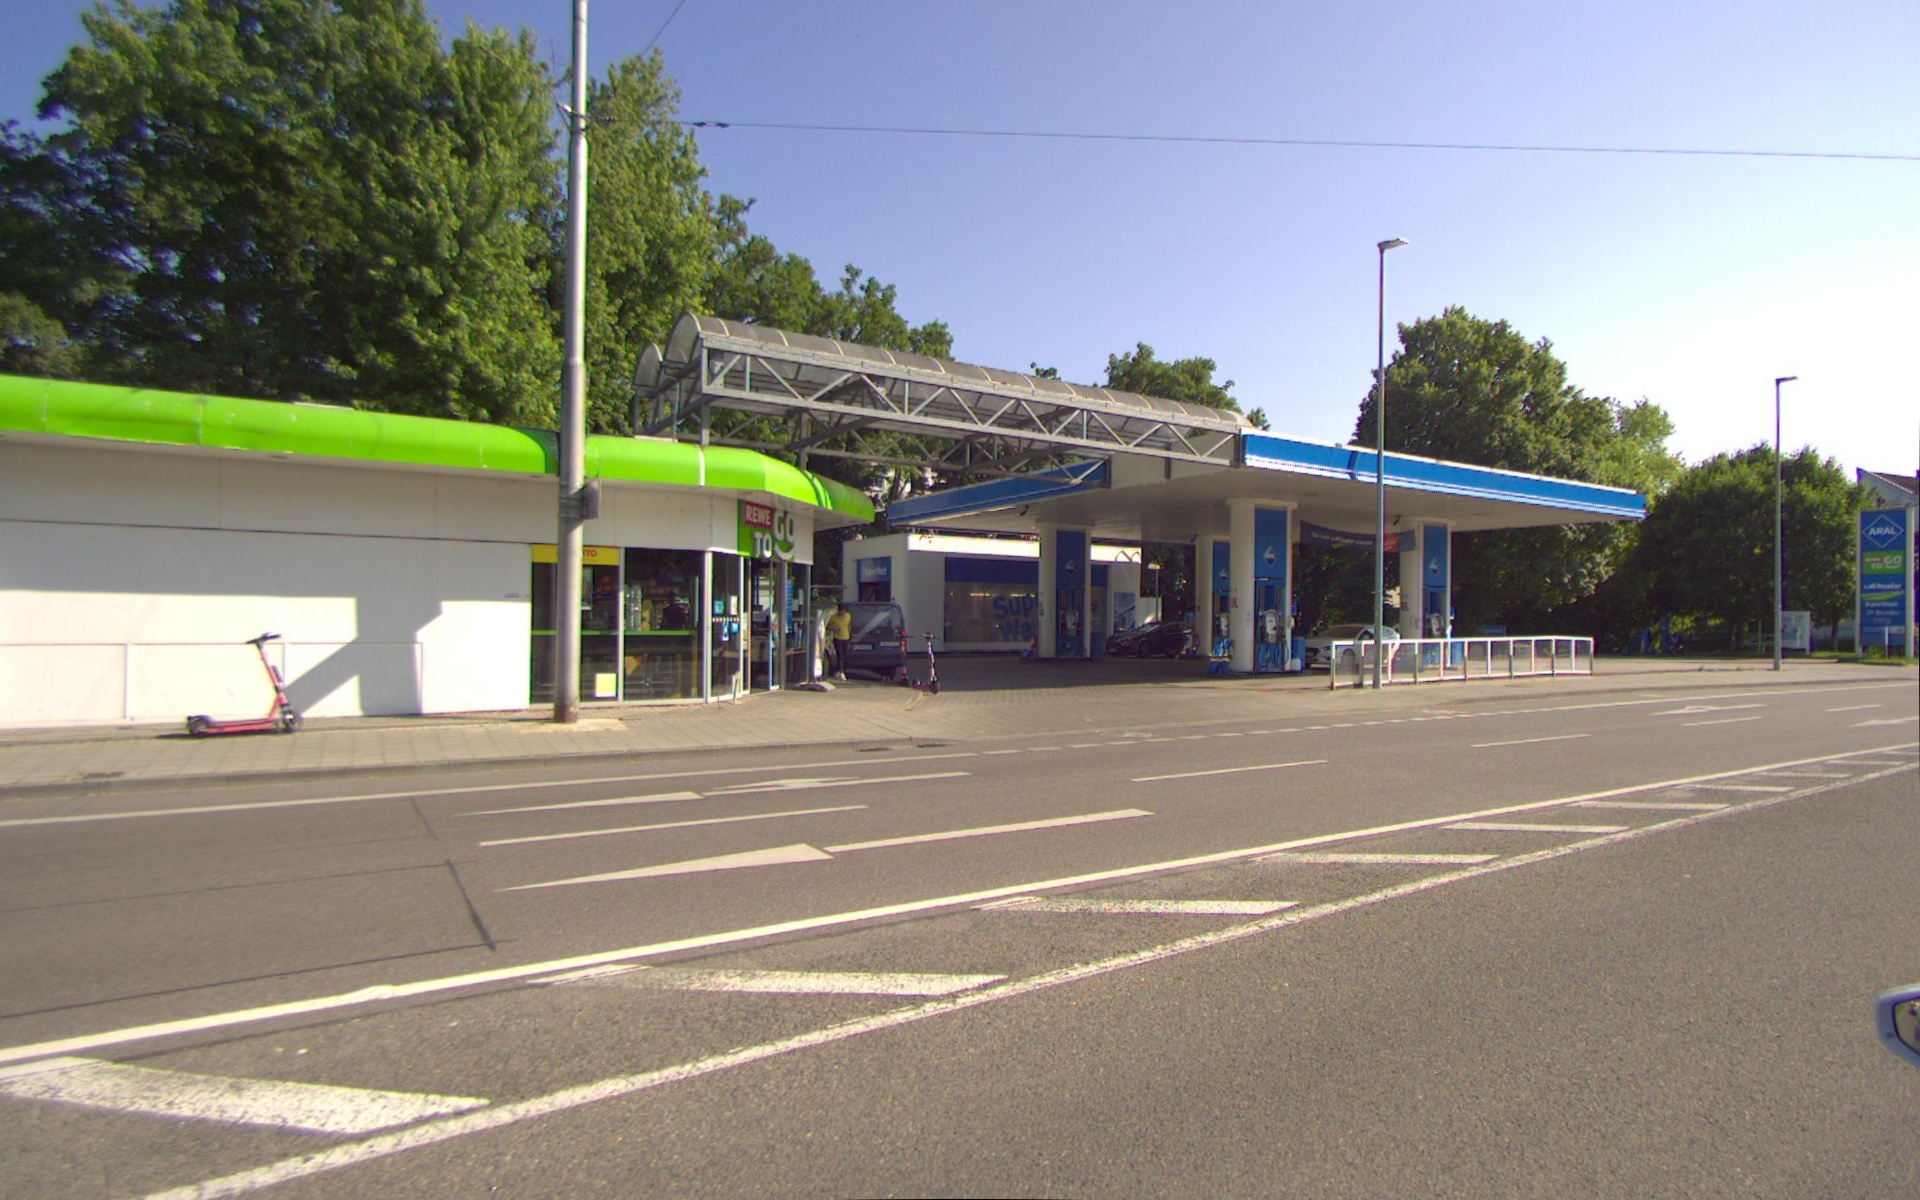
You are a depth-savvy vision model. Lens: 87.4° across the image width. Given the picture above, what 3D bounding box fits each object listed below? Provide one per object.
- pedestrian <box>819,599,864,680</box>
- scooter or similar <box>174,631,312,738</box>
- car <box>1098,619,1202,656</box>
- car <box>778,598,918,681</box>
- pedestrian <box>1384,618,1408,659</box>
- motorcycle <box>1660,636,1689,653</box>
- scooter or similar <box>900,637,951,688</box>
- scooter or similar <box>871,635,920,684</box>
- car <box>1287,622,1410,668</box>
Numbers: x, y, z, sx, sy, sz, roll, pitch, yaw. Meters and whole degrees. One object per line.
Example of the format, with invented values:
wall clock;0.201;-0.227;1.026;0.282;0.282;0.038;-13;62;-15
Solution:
pedestrian;-2.648;0.866;22.394;0.774;1.768;0.766;1;-1;-27
scooter or similar;-8.593;0.993;12.085;1.294;1.190;0.530;1;4;-30
car;7.675;1.509;40.466;4.078;1.412;1.733;1;-1;-34
car;-3.018;0.974;26.179;1.976;1.960;4.516;1;-1;-30
pedestrian;18.665;1.632;42.983;0.844;1.751;0.655;1;-1;-44
motorcycle;38.125;2.374;53.578;1.652;0.913;0.667;1;-1;-32
scooter or similar;-0.715;1.272;20.702;0.494;1.000;1.253;1;-1;-32
scooter or similar;-1.420;1.276;21.848;0.494;0.998;1.332;1;-1;-31
car;12.633;1.422;32.589;4.078;1.412;1.733;1;-1;-34
